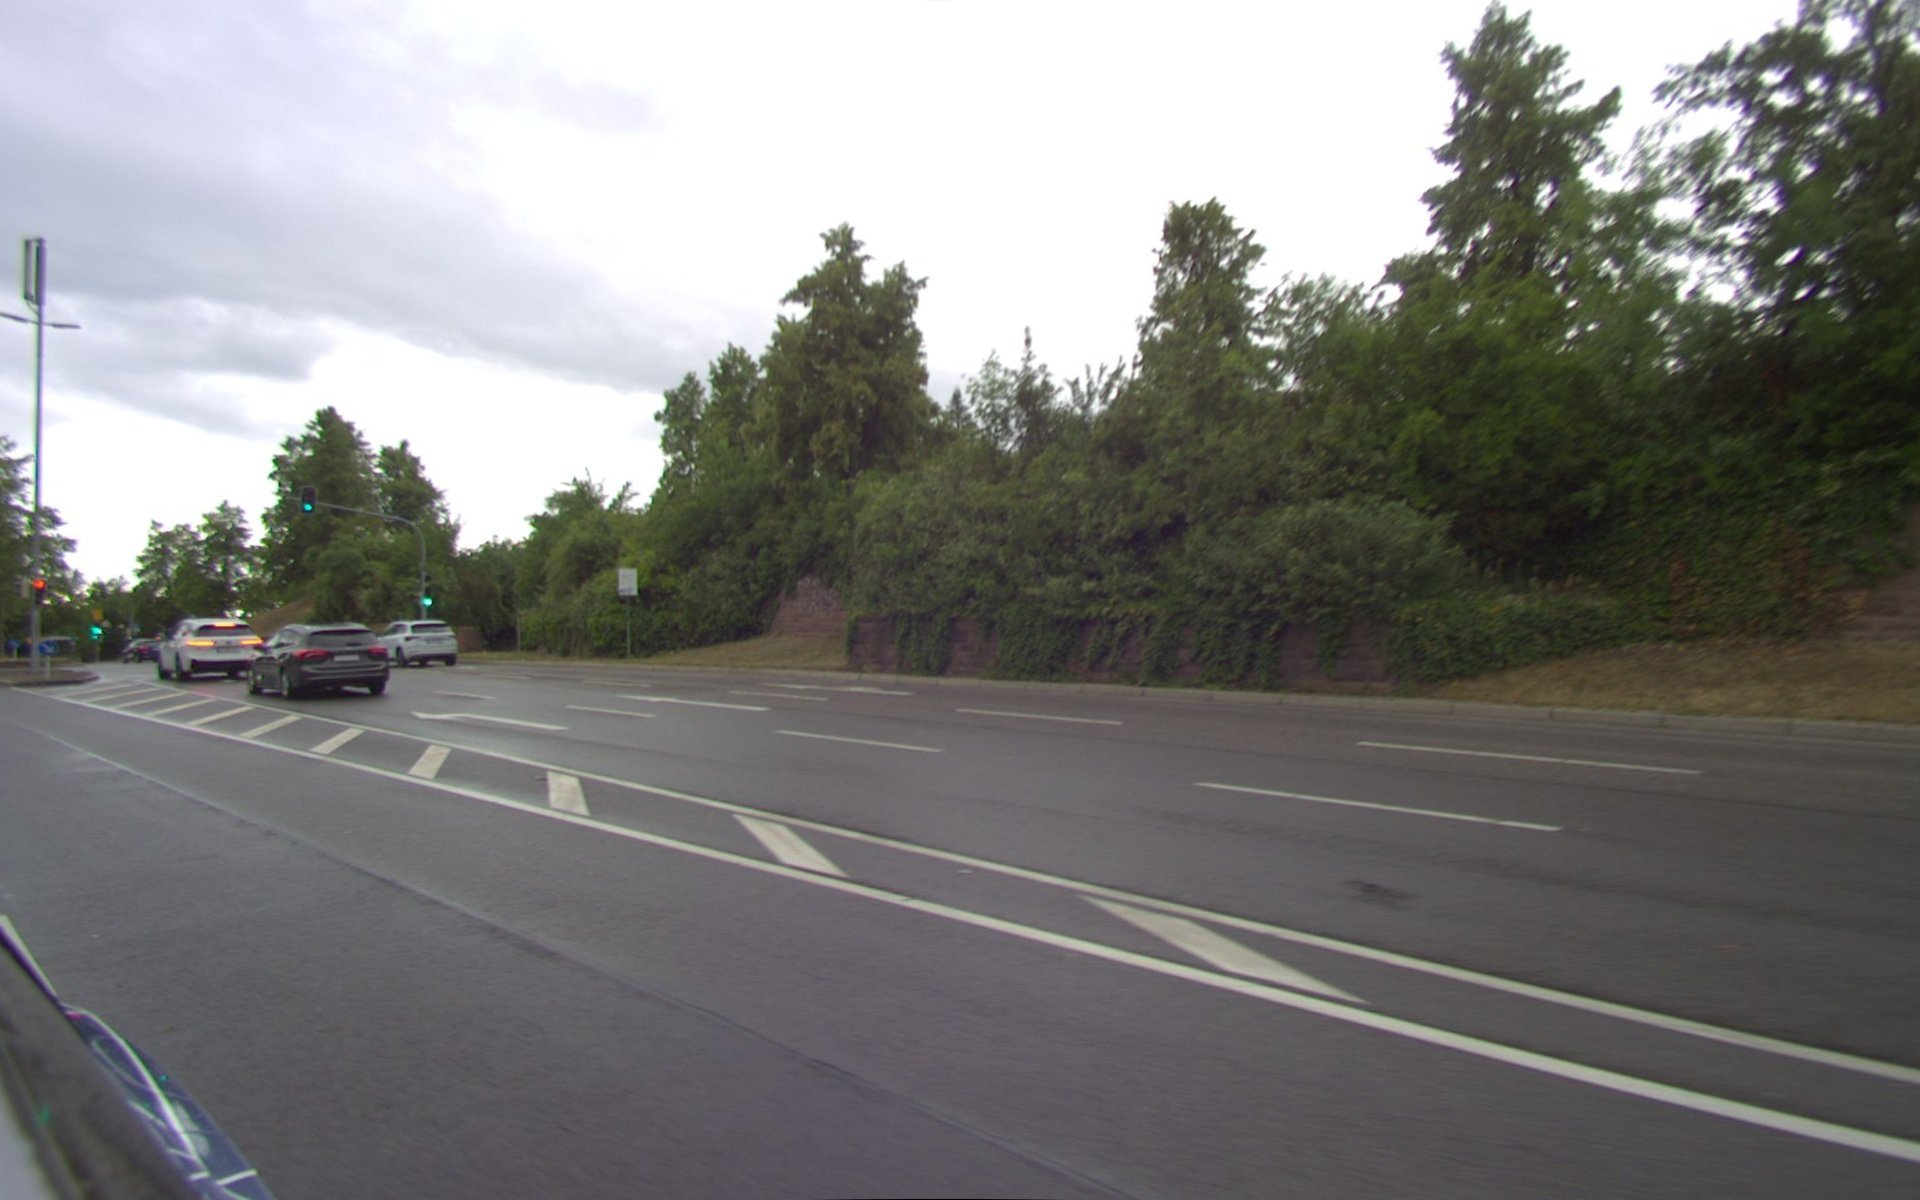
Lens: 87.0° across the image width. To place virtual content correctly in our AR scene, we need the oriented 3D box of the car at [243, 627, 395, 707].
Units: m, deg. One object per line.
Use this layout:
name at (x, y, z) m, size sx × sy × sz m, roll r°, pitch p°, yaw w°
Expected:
car at (-13.403, 1.337, 21.079) m, size 3.997 × 1.479 × 1.757 m, roll -2°, pitch -2°, yaw 43°

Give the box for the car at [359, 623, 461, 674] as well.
car at (-19.310, 1.678, 35.482) m, size 4.450 × 1.668 × 1.865 m, roll -2°, pitch -2°, yaw 43°

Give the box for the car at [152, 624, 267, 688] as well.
car at (-21.353, 1.548, 28.739) m, size 4.450 × 1.668 × 1.865 m, roll -2°, pitch -2°, yaw 43°

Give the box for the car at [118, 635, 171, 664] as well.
car at (-49.623, 3.016, 61.553) m, size 4.339 × 1.668 × 1.866 m, roll -2°, pitch -2°, yaw 42°
